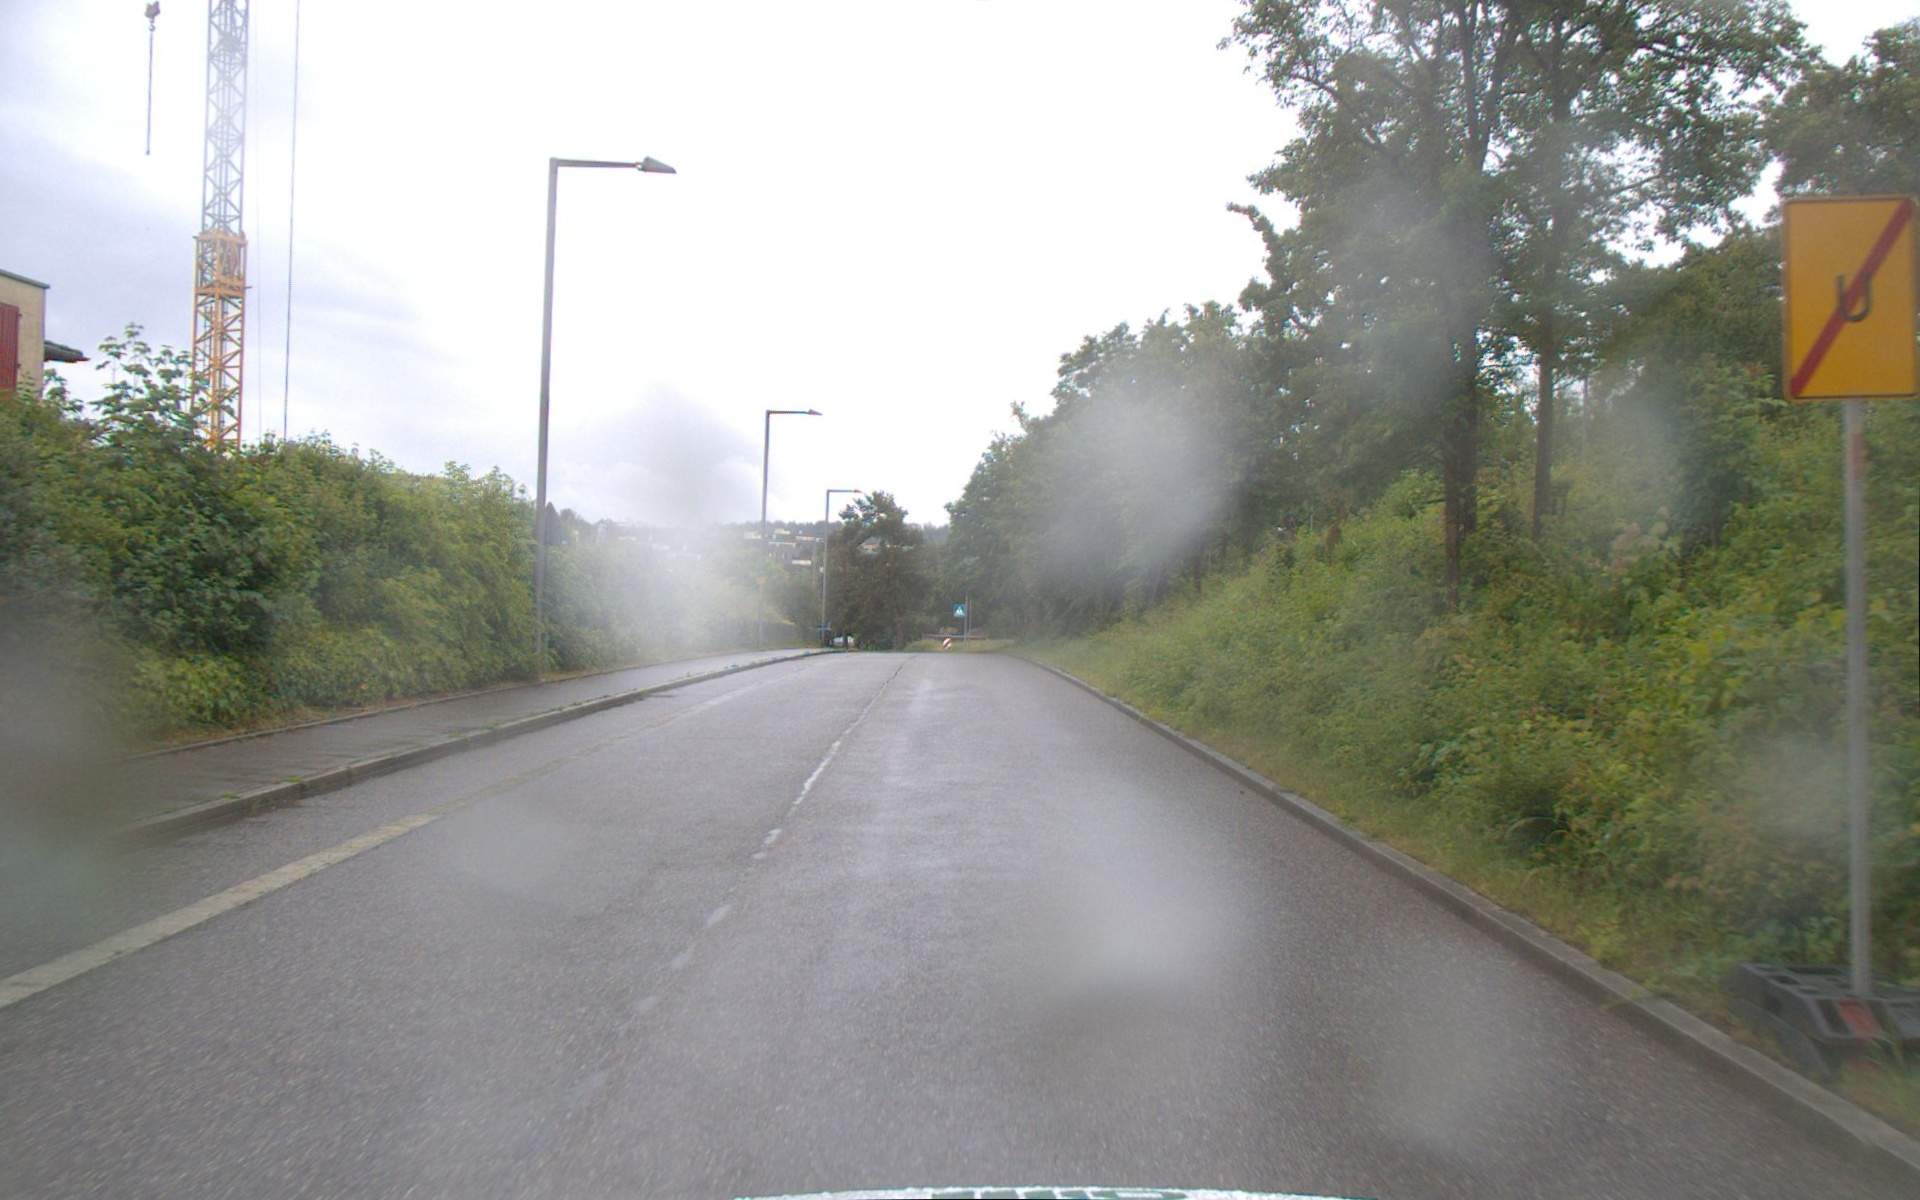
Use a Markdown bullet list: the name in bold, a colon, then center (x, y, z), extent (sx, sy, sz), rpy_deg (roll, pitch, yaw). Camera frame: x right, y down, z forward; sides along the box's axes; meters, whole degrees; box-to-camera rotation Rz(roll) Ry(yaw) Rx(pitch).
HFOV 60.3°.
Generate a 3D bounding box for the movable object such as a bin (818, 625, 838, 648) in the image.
- **movable object such as a bin**: center (-8.513, 2.368, 106.467), extent (1.111, 1.363, 1.395), rpy_deg (4, -2, -10)
